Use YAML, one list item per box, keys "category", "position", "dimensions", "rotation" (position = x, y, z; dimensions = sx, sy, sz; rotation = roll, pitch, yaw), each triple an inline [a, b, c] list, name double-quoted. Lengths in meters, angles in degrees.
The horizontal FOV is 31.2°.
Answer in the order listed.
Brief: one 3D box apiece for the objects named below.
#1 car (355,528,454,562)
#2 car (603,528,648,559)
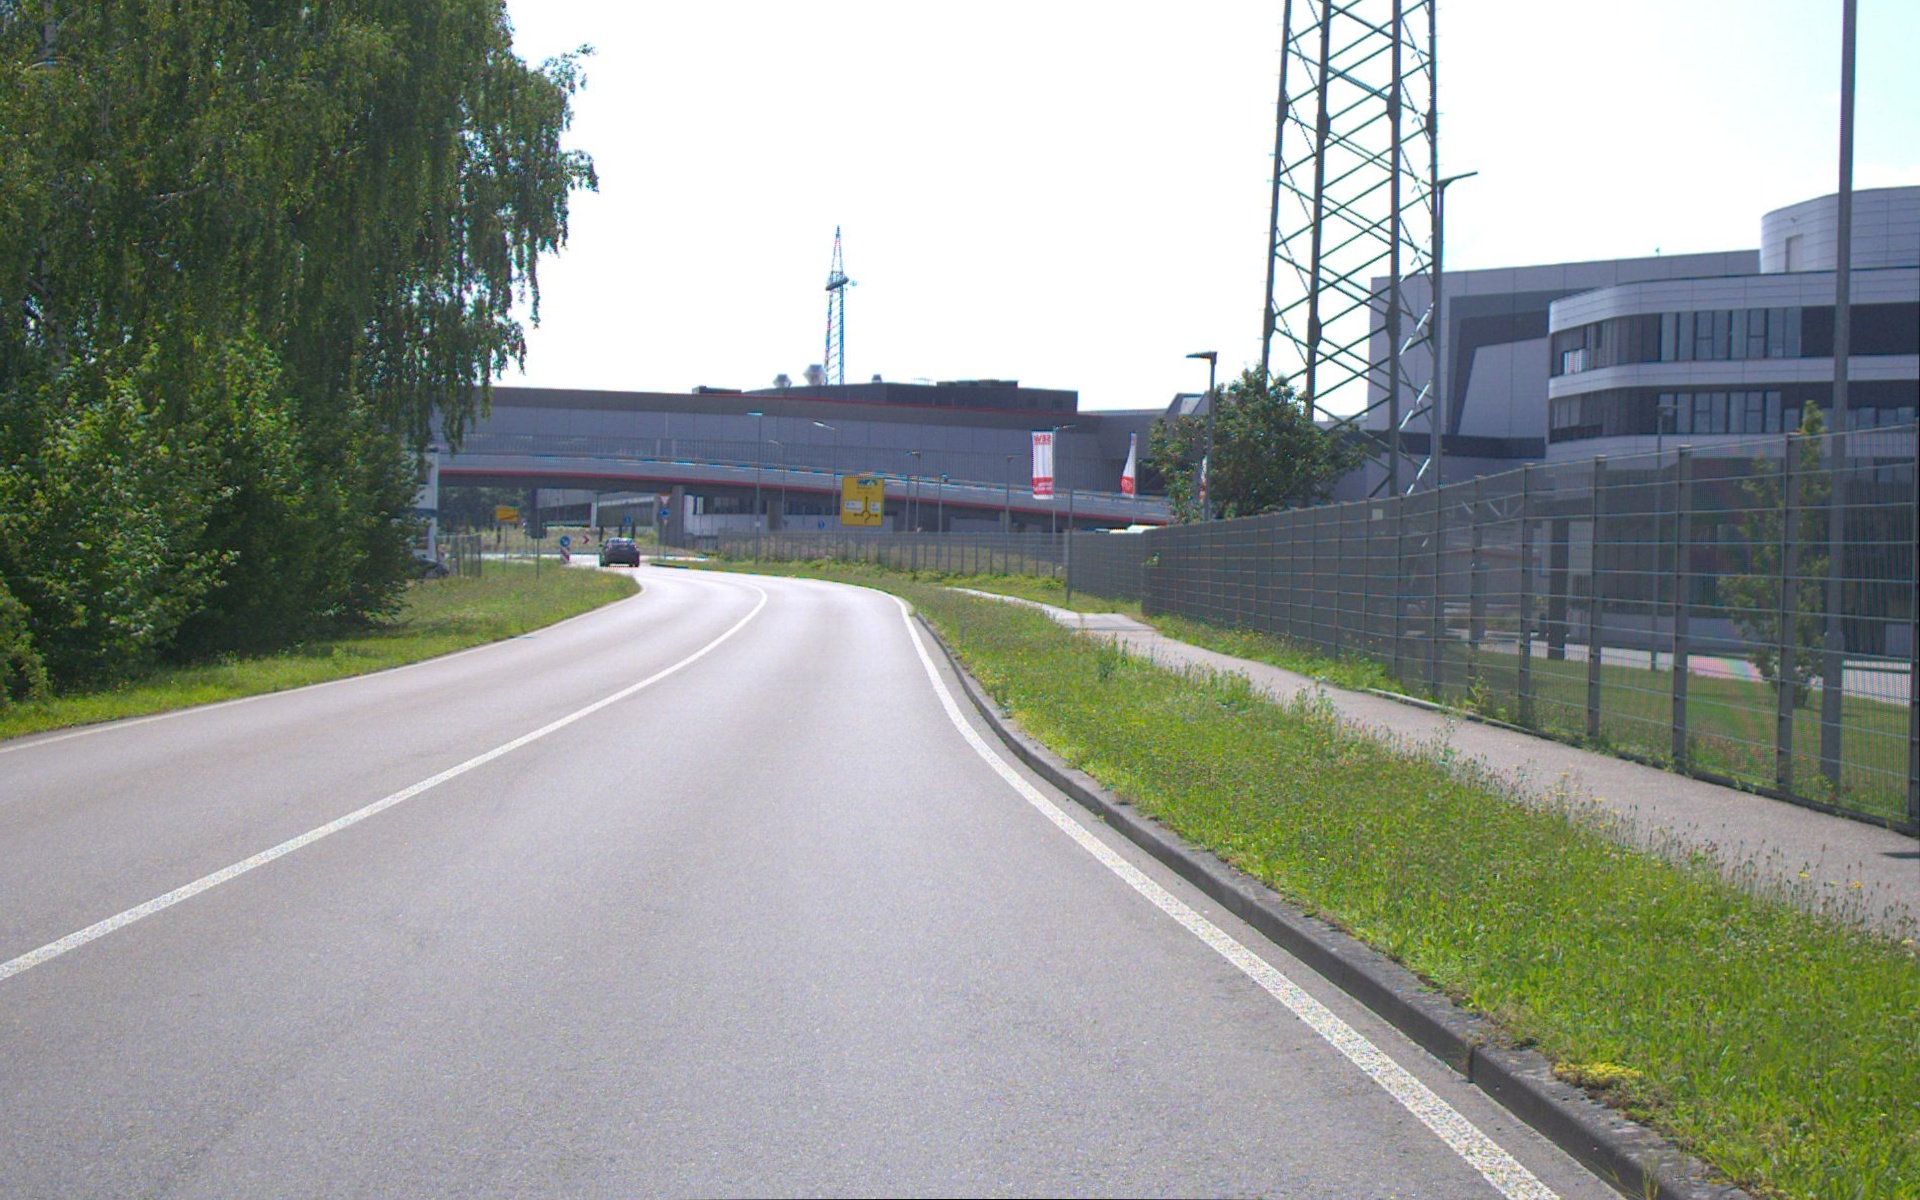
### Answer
- category: "car"
  position: [-23.426, -2.333, 145.023]
  dimensions: [3.689, 1.285, 1.708]
  rotation: [2, 1, -32]
- category: "car"
  position: [-17.698, -2.992, 181.603]
  dimensions: [2.011, 1.503, 4.001]
  rotation: [2, 1, -10]
